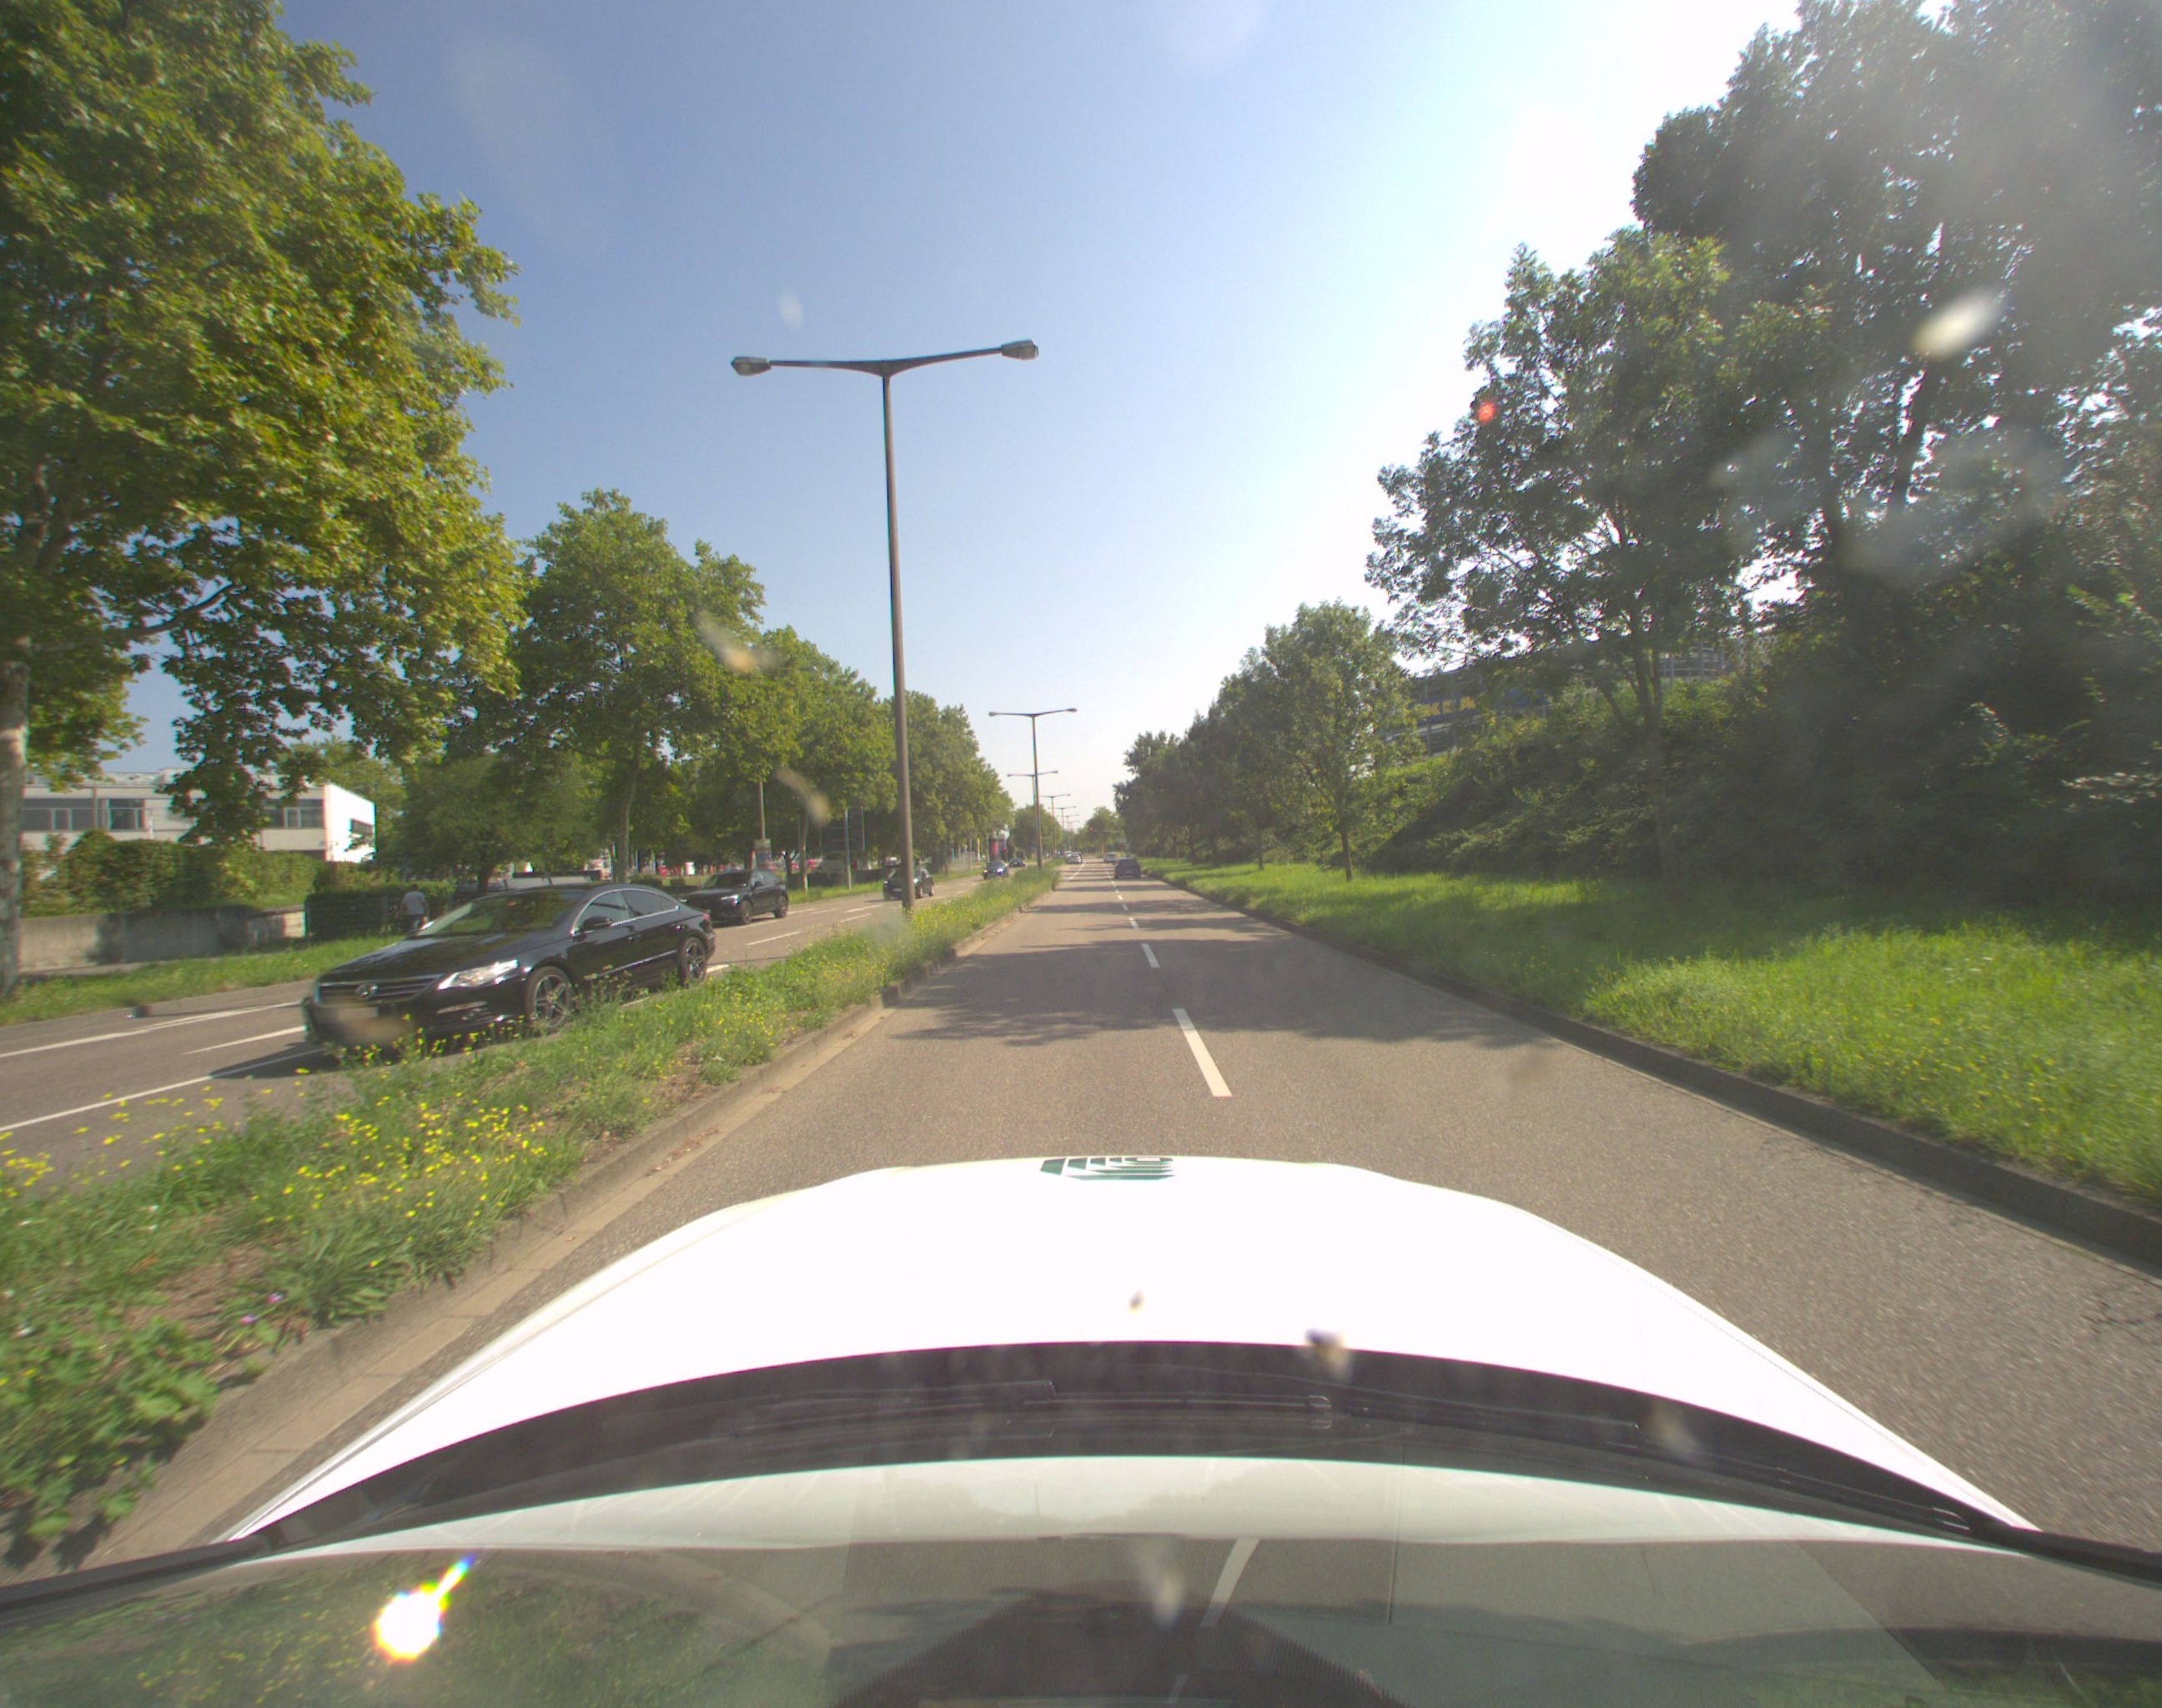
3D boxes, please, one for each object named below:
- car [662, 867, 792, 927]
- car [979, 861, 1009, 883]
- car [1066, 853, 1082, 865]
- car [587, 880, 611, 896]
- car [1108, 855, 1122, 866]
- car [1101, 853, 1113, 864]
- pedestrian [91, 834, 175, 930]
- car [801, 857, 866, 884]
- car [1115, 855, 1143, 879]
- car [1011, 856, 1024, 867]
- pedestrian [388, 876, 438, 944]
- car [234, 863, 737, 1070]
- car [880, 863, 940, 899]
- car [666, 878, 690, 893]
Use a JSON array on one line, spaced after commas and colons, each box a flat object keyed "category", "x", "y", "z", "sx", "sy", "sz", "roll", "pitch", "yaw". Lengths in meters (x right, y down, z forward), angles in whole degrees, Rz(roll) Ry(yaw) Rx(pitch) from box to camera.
[{"category": "car", "x": -10.740, "y": 1.253, "z": 25.096, "sx": 1.839, "sy": 1.605, "sz": 4.612, "roll": -2, "pitch": -1, "yaw": 2}, {"category": "car", "x": -7.323, "y": 1.499, "z": 69.191, "sx": 1.988, "sy": 1.585, "sz": 4.344, "roll": -5, "pitch": 0, "yaw": -1}, {"category": "car", "x": -1.051, "y": 0.718, "z": 123.780, "sx": 1.985, "sy": 1.702, "sz": 4.003, "roll": -3, "pitch": 0, "yaw": 3}, {"category": "car", "x": -53.720, "y": 3.810, "z": 90.755, "sx": 1.940, "sy": 1.452, "sz": 3.958, "roll": -3, "pitch": 3, "yaw": -35}, {"category": "car", "x": 5.372, "y": 1.067, "z": 128.151, "sx": 1.987, "sy": 1.654, "sz": 4.000, "roll": -3, "pitch": 0, "yaw": 1}, {"category": "car", "x": 4.582, "y": 0.812, "z": 145.903, "sx": 1.988, "sy": 1.654, "sz": 3.999, "roll": -1, "pitch": 2, "yaw": -1}, {"category": "pedestrian", "x": -24.134, "y": 0.689, "z": 20.745, "sx": 0.963, "sy": 2.390, "sz": 0.917, "roll": -1, "pitch": 2, "yaw": 8}, {"category": "car", "x": -24.306, "y": 1.595, "z": 80.061, "sx": 5.567, "sy": 2.336, "sz": 2.278, "roll": -1, "pitch": 2, "yaw": -1}, {"category": "car", "x": 3.300, "y": 0.887, "z": 56.569, "sx": 1.774, "sy": 1.427, "sz": 4.002, "roll": -1, "pitch": 2, "yaw": 1}, {"category": "car", "x": -9.619, "y": 1.154, "z": 123.586, "sx": 1.790, "sy": 1.417, "sz": 4.407, "roll": -4, "pitch": -1, "yaw": -2}, {"category": "pedestrian", "x": -21.298, "y": 1.749, "z": 25.967, "sx": 1.252, "sy": 2.013, "sz": 1.022, "roll": 1, "pitch": 3, "yaw": 43}, {"category": "car", "x": -5.741, "y": 0.927, "z": 8.824, "sx": 1.839, "sy": 1.490, "sz": 4.645, "roll": -4, "pitch": 0, "yaw": 2}, {"category": "car", "x": -7.855, "y": 1.211, "z": 37.766, "sx": 1.698, "sy": 1.490, "sz": 4.314, "roll": -2, "pitch": 0, "yaw": 2}, {"category": "car", "x": -46.593, "y": 3.600, "z": 94.171, "sx": 1.940, "sy": 1.452, "sz": 3.958, "roll": -3, "pitch": 3, "yaw": -35}]
